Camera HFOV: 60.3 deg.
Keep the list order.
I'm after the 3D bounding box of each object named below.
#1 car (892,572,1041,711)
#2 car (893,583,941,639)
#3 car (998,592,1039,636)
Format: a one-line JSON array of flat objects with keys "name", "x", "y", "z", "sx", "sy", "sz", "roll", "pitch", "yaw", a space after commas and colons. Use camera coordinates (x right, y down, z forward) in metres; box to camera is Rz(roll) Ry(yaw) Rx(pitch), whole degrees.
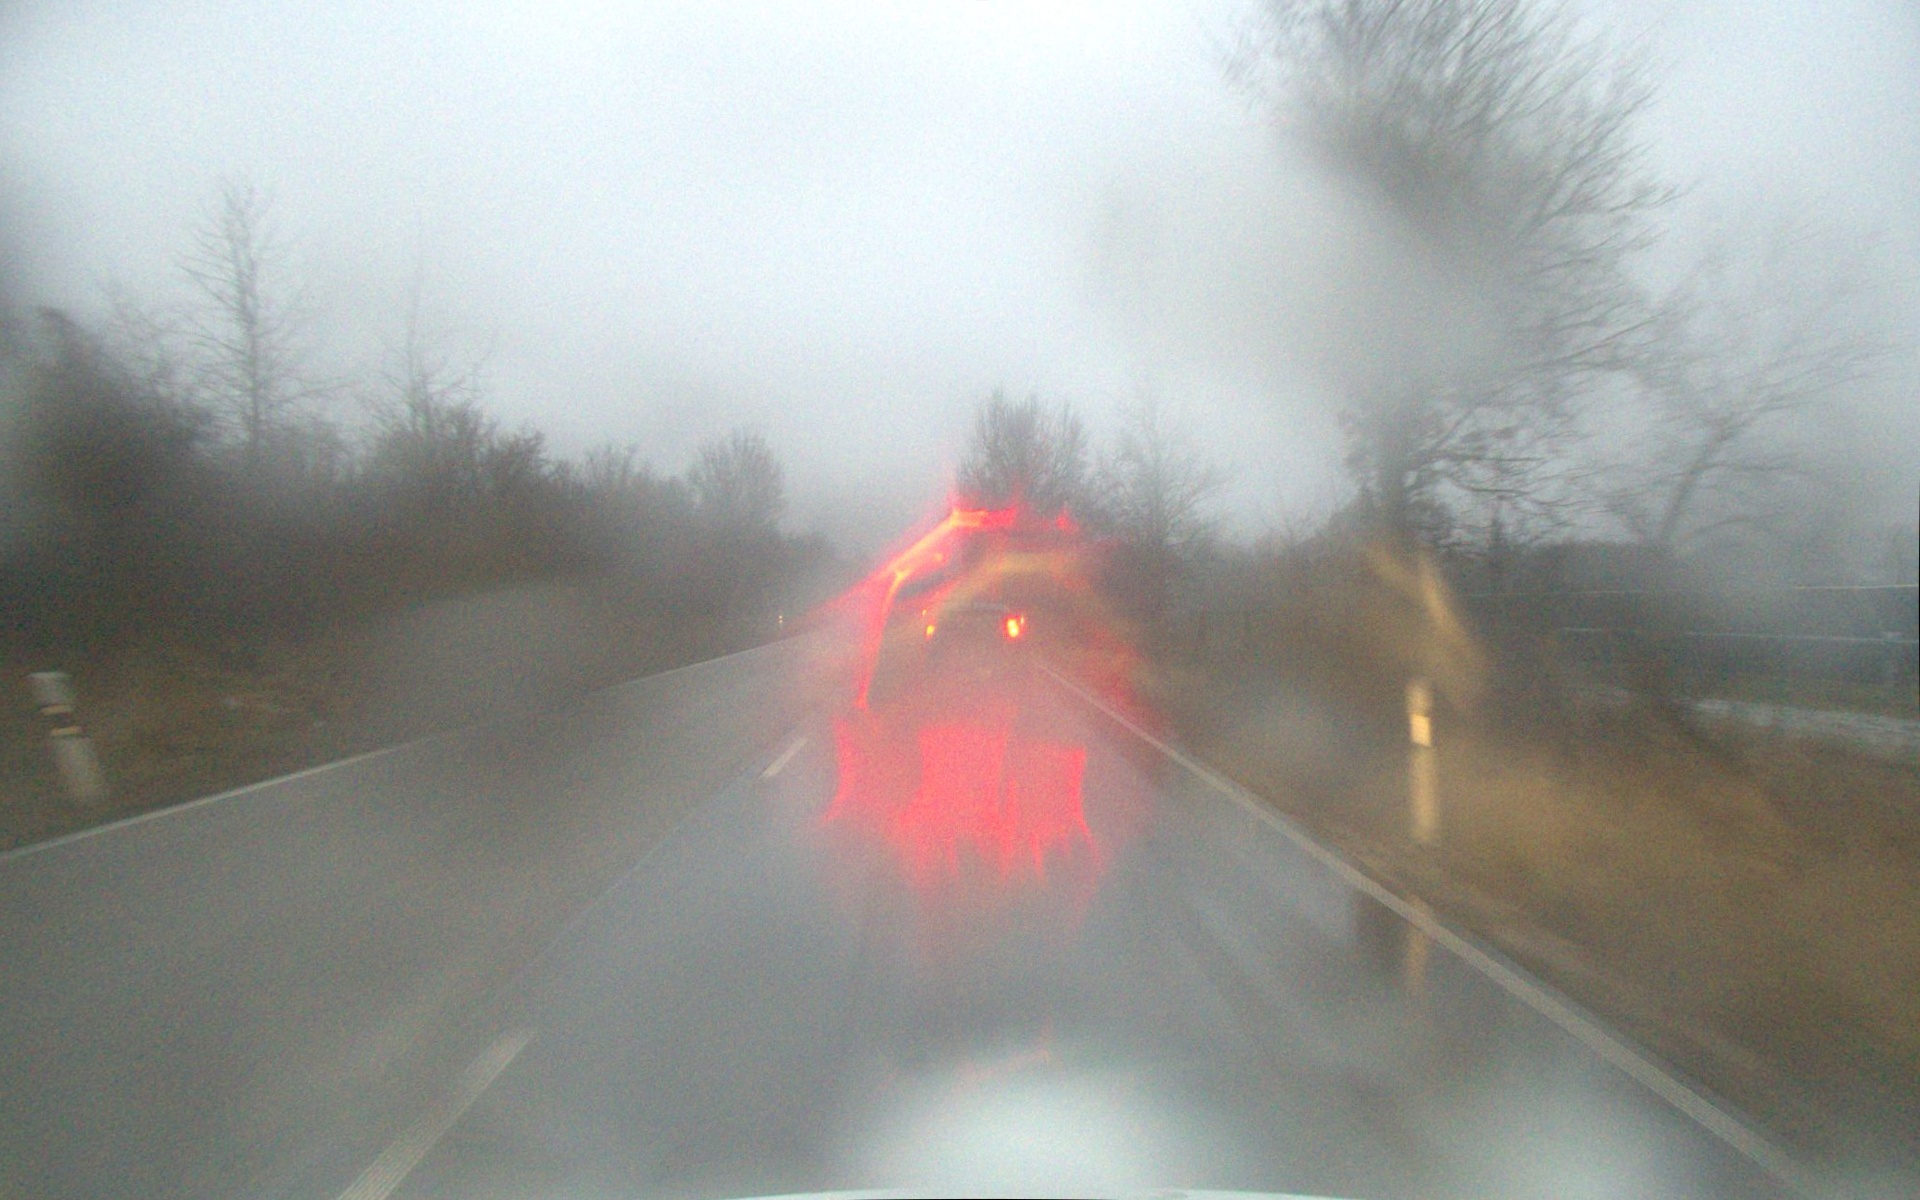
[{"name": "car", "x": 0.116, "y": 0.545, "z": 24.100, "sx": 1.952, "sy": 1.816, "sz": 4.000, "roll": 1, "pitch": 0, "yaw": 1}, {"name": "car", "x": -1.516, "y": 0.378, "z": 59.021, "sx": 1.542, "sy": 1.907, "sz": 3.709, "roll": 1, "pitch": 0, "yaw": 1}, {"name": "car", "x": 2.262, "y": 0.520, "z": 64.060, "sx": 1.531, "sy": 1.619, "sz": 3.489, "roll": 1, "pitch": 0, "yaw": 2}]
